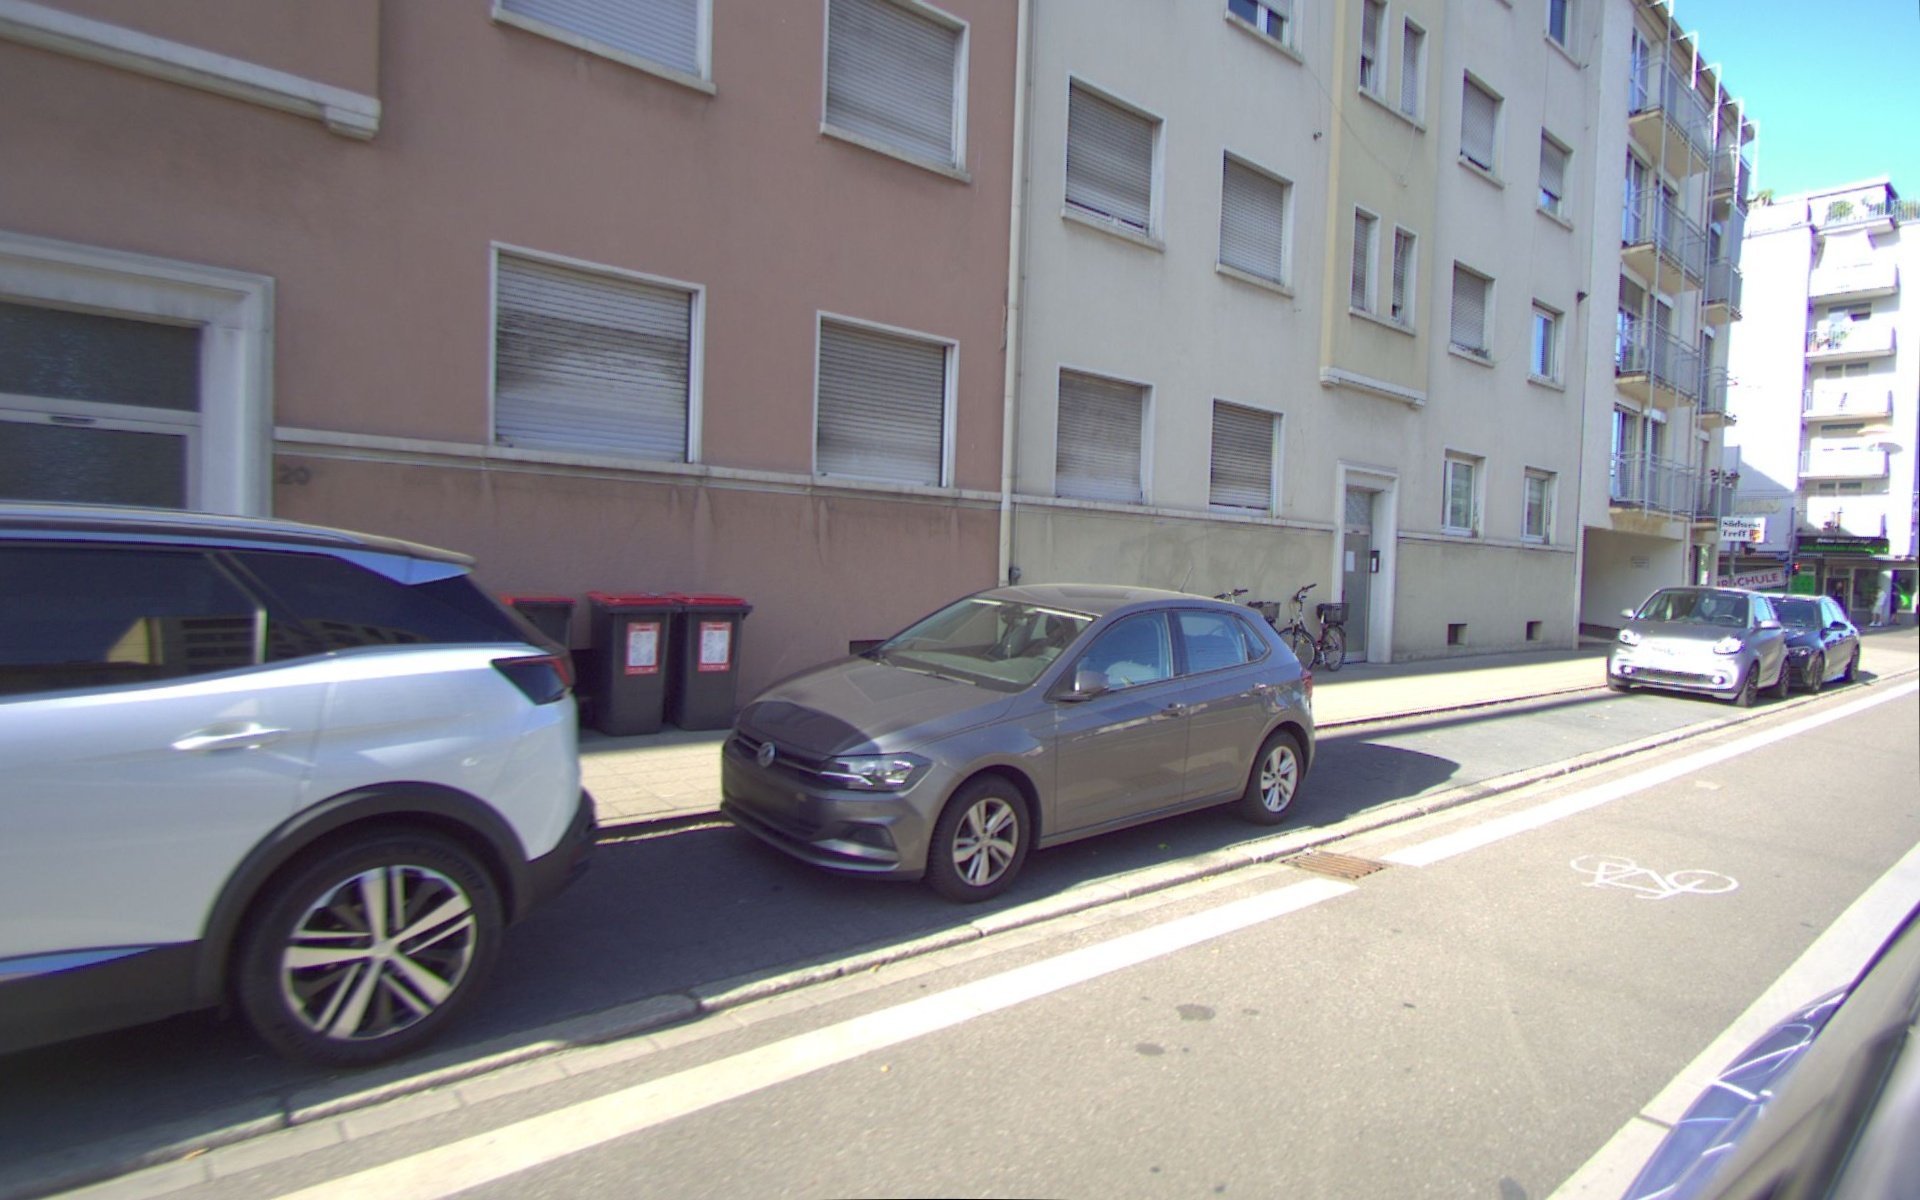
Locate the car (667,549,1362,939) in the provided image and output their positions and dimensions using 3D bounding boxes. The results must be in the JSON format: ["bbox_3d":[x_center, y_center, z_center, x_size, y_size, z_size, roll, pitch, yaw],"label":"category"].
[{"bbox_3d":[0.549,0.537,6.124,4.081,1.496,1.750,-1,6,-41],"label":"car"}]

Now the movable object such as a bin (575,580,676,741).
[{"bbox_3d":[-2.542,0.431,7.678,0.553,1.149,0.605,0,0,-38],"label":"movable object such as a bin"}]

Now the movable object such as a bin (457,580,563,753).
[{"bbox_3d":[-3.196,0.442,7.174,0.553,1.149,0.605,0,0,-38],"label":"movable object such as a bin"}]

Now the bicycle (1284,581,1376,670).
[{"bbox_3d":[5.171,0.329,14.103,1.731,1.189,0.325,-1,0,-38],"label":"bicycle"}]

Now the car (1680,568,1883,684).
[{"bbox_3d":[13.427,0.331,16.470,4.103,1.570,1.822,-1,5,-41],"label":"car"}]

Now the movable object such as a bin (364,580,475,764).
[{"bbox_3d":[-3.605,0.449,6.747,0.553,1.149,0.605,0,0,-38],"label":"movable object such as a bin"}]

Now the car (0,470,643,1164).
[{"bbox_3d":[-3.375,0.469,2.761,4.412,1.717,1.806,-1,6,-41],"label":"car"}]

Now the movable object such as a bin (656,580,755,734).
[{"bbox_3d":[-2.015,0.424,7.988,0.553,1.149,0.605,0,0,-38],"label":"movable object such as a bin"}]

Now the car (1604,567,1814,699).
[{"bbox_3d":[10.422,0.374,14.063,2.604,1.570,1.762,-1,4,-41],"label":"car"}]

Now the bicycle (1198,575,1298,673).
[{"bbox_3d":[3.688,0.280,12.897,1.733,1.189,0.324,-1,0,-41],"label":"bicycle"}]
